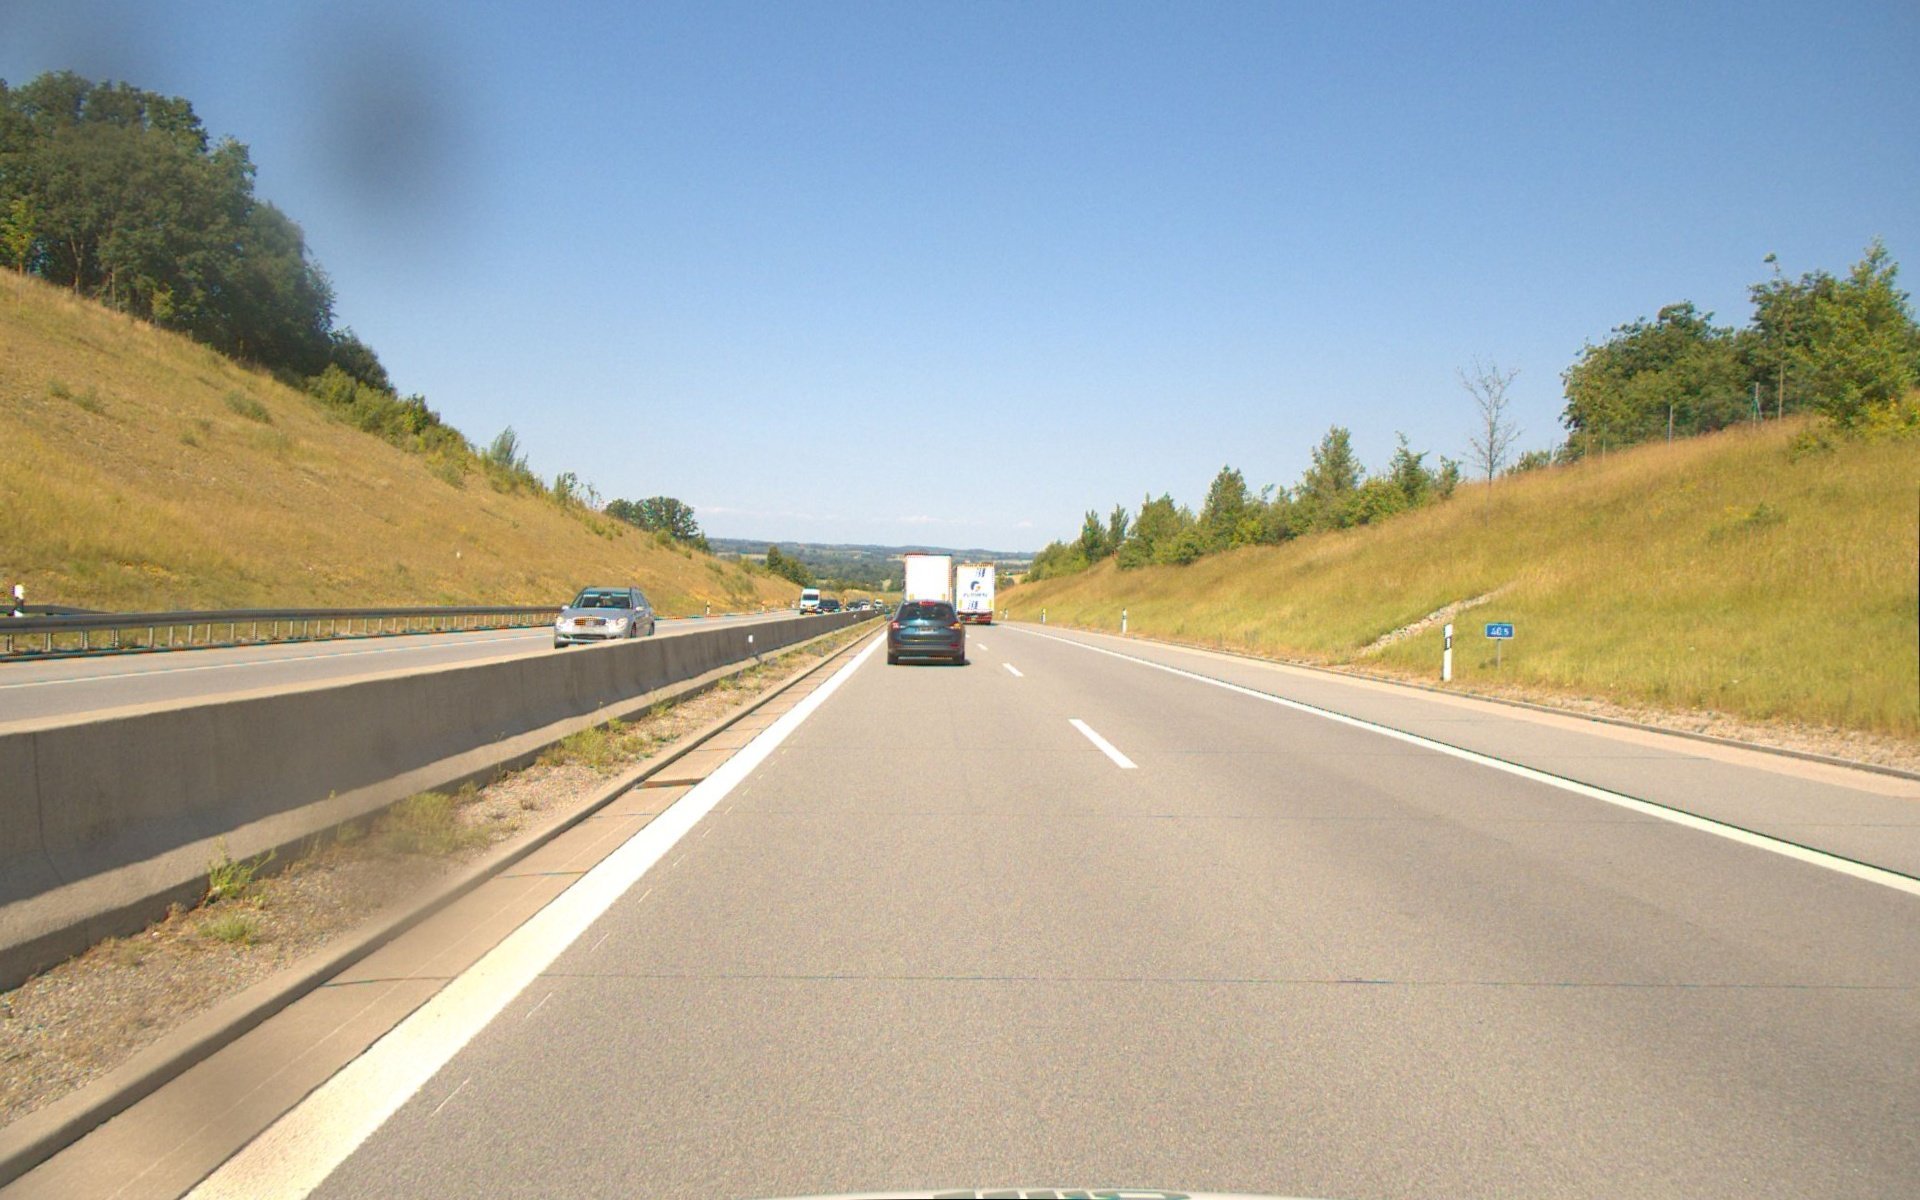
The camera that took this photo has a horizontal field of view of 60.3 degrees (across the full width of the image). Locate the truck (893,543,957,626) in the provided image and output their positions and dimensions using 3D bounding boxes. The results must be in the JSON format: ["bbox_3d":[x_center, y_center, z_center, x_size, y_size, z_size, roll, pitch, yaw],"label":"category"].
[{"bbox_3d":[-1.915,-0.832,95.712,3.144,4.458,11.234,1,0,1],"label":"truck"}]

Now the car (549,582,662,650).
[{"bbox_3d":[-8.431,0.357,39.698,1.816,1.487,4.726,1,0,-2],"label":"car"}]

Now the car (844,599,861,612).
[{"bbox_3d":[-12.705,0.594,195.614,1.816,1.487,4.331,1,0,-2],"label":"car"}]

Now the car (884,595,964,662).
[{"bbox_3d":[-0.868,0.618,38.096,1.741,1.466,3.786,0,0,-3],"label":"car"}]

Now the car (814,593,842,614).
[{"bbox_3d":[-9.942,0.271,124.763,1.816,1.487,4.766,1,0,-2],"label":"car"}]

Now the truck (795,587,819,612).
[{"bbox_3d":[-15.522,-0.057,168.369,2.070,2.503,5.948,1,0,-3],"label":"truck"}]

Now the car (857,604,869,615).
[{"bbox_3d":[-14.995,1.452,256.813,1.740,1.629,4.037,1,0,-2],"label":"car"}]

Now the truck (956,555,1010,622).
[{"bbox_3d":[1.622,-0.748,116.602,3.530,4.458,11.234,1,0,1],"label":"truck"}]
